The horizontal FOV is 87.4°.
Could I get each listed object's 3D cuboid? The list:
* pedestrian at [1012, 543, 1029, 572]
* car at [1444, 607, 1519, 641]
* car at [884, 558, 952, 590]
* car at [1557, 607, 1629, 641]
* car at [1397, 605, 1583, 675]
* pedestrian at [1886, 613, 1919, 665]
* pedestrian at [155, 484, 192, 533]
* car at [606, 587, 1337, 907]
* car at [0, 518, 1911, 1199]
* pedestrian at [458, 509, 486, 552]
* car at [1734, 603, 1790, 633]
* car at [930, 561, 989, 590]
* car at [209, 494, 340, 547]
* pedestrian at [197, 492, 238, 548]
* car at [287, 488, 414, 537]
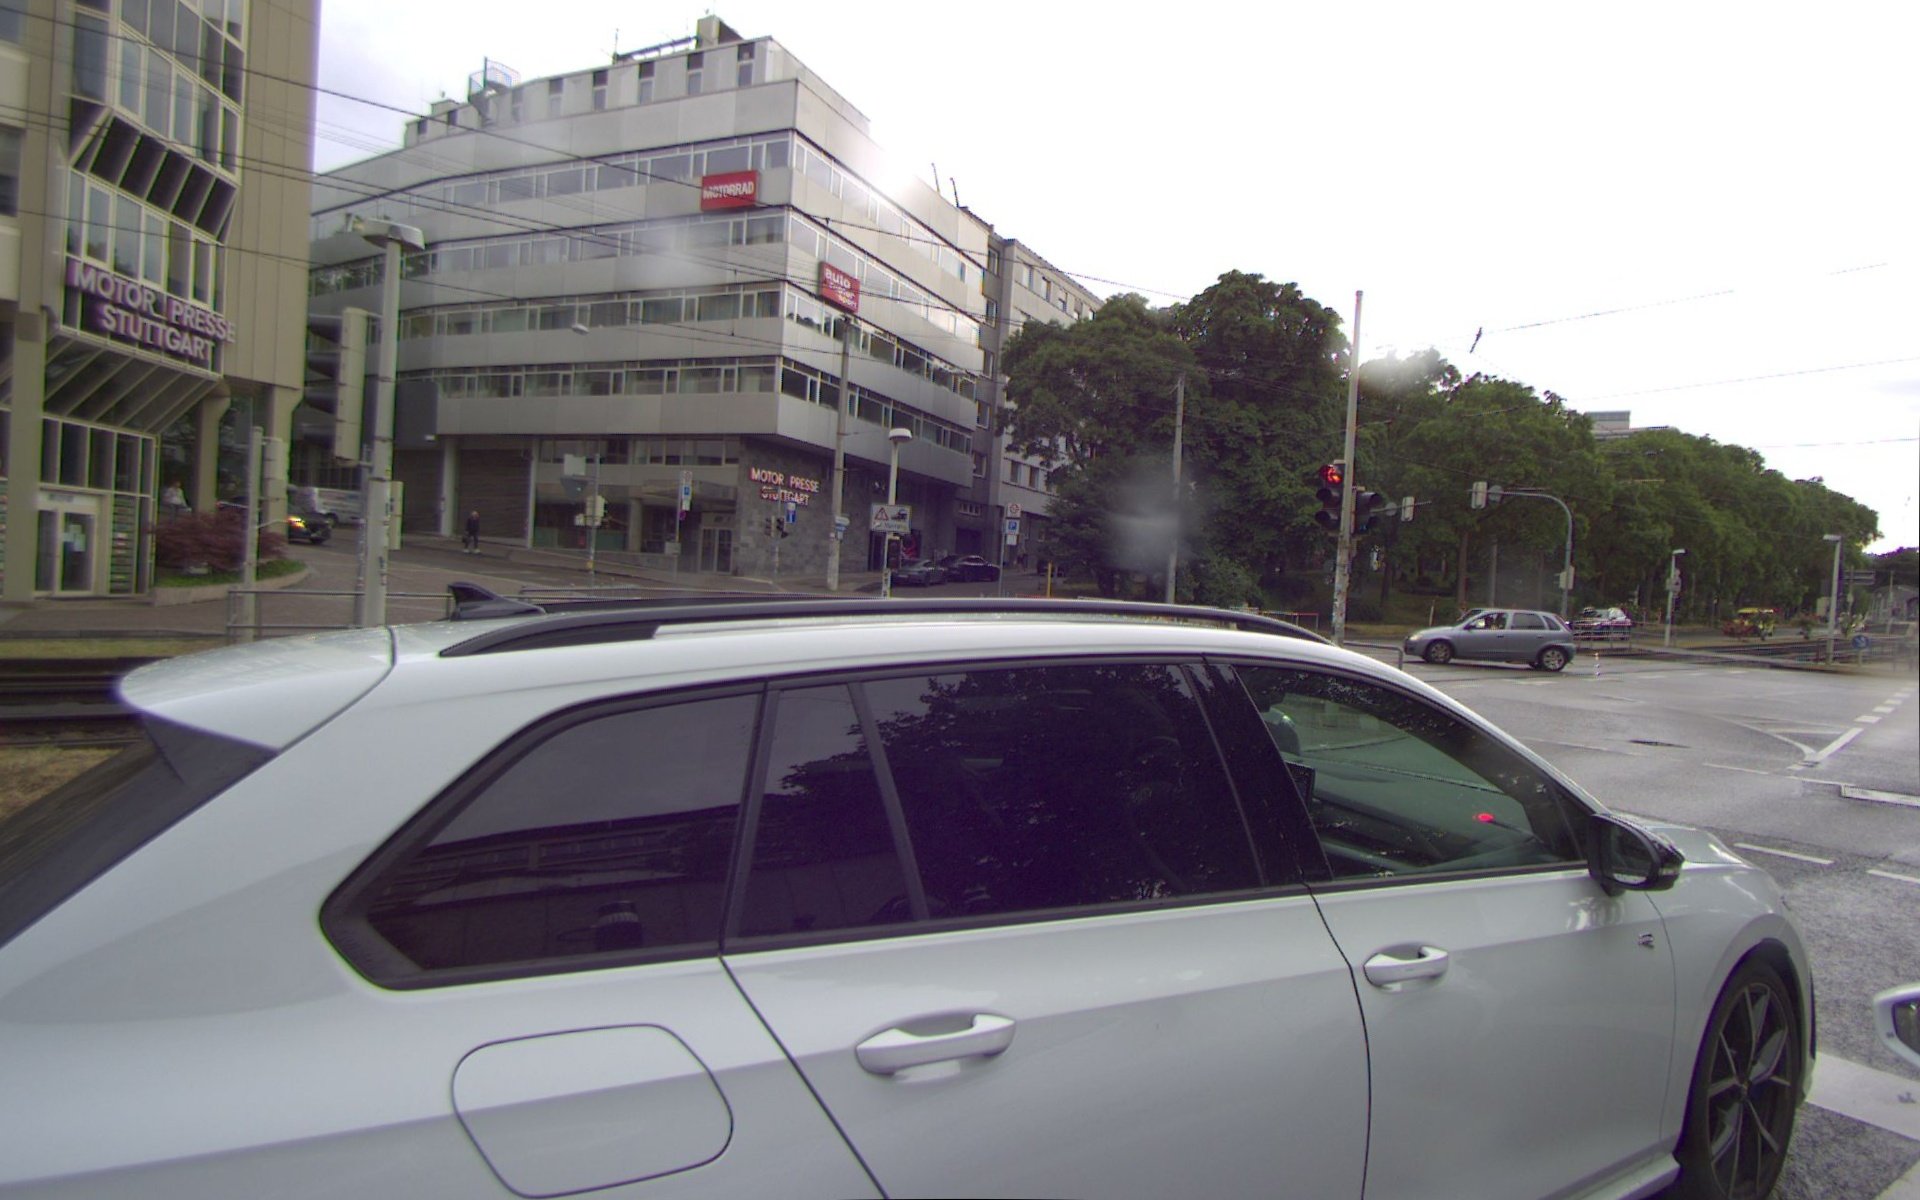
[{"bbox_3d":[3.950,-2.767,65.528,0.707,1.886,0.758,5,4,31],"label":"pedestrian"},{"bbox_3d":[26.064,1.213,50.181,3.648,1.566,1.905,2,1,-37],"label":"car"},{"bbox_3d":[-2.059,-1.293,50.605,1.842,1.450,4.091,3,2,22],"label":"car"},{"bbox_3d":[32.148,1.228,50.984,3.648,1.566,1.905,2,1,-37],"label":"car"},{"bbox_3d":[12.961,0.942,24.811,3.795,1.375,1.632,3,2,20],"label":"car"},{"bbox_3d":[34.902,1.418,37.009,0.863,1.826,0.860,1,2,-33],"label":"pedestrian"},{"bbox_3d":[-27.892,-3.242,35.634,0.746,1.661,0.719,5,2,25],"label":"pedestrian"},{"bbox_3d":[0.199,0.723,6.481,4.423,1.461,1.787,2,0,-30],"label":"car"},{"bbox_3d":[0.302,0.707,2.468,4.423,1.461,1.787,2,0,-30],"label":"car"},{"bbox_3d":[-22.207,-3.142,45.679,0.833,1.886,0.719,5,2,25],"label":"pedestrian"},{"bbox_3d":[55.552,1.272,69.553,4.525,1.875,1.905,2,1,-38],"label":"car"},{"bbox_3d":[0.031,-1.353,55.579,1.842,1.450,3.998,3,2,22],"label":"car"},{"bbox_3d":[-27.431,-3.164,40.204,4.794,1.601,1.999,7,3,23],"label":"car"},{"bbox_3d":[-25.258,-2.721,34.165,0.746,1.811,0.830,5,2,25],"label":"pedestrian"},{"bbox_3d":[-32.031,-4.540,52.988,1.964,2.040,5.403,2,0,30],"label":"car"}]
